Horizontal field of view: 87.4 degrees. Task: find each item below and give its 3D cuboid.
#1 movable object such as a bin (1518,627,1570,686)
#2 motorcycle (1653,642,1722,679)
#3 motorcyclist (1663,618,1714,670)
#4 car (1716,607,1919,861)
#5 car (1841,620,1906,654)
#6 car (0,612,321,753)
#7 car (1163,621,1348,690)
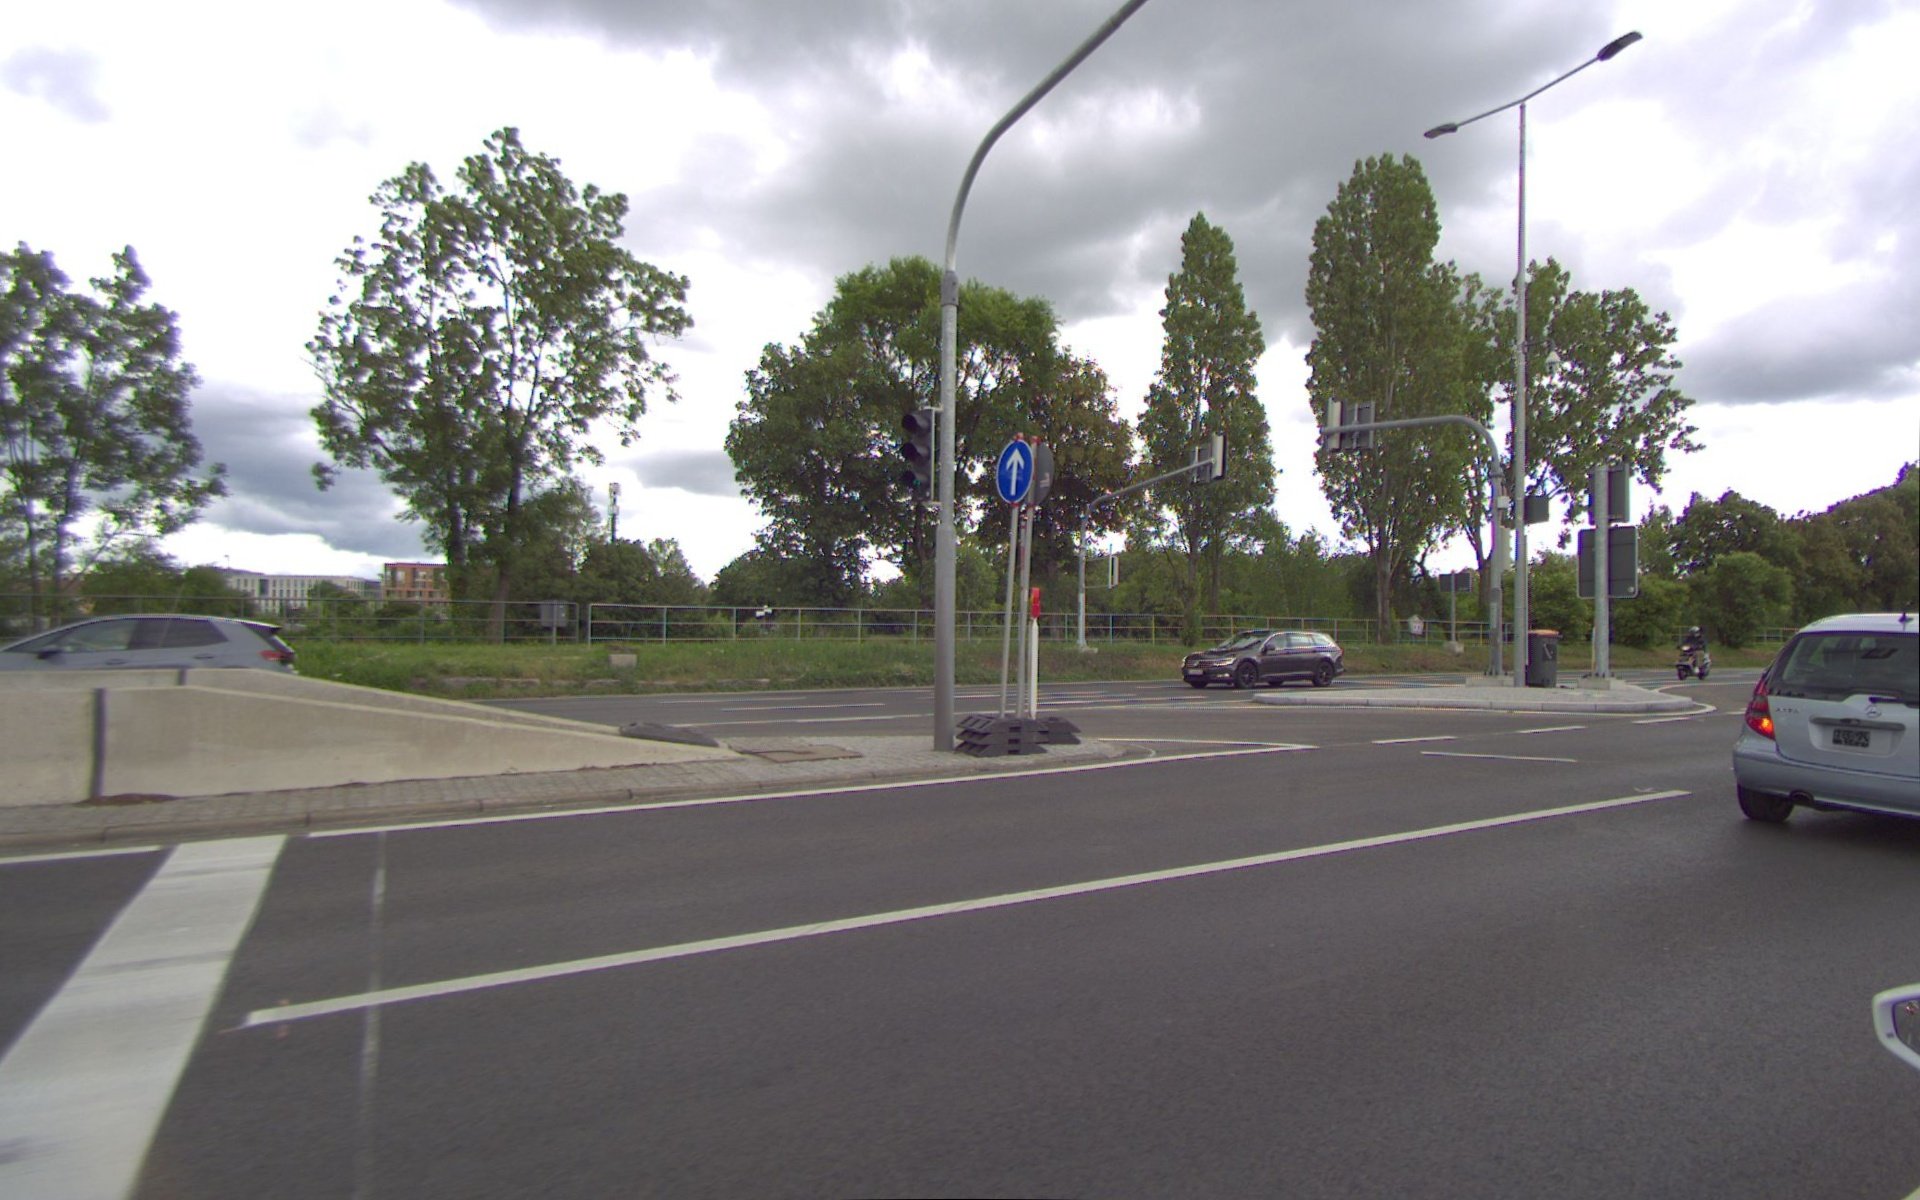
[{"bbox_3d":[11.153,1.070,19.185,0.732,1.073,0.538,0,1,-30],"label":"movable object such as a bin"},{"bbox_3d":[22.489,1.874,31.055,2.138,1.002,0.908,4,-1,-30],"label":"motorcycle"},{"bbox_3d":[22.524,1.355,31.066,0.969,1.541,0.908,4,0,-30],"label":"motorcyclist"},{"bbox_3d":[7.566,0.854,7.499,3.954,1.550,1.702,0,1,-31],"label":"car"},{"bbox_3d":[42.234,1.684,46.439,2.705,1.482,1.465,0,1,-30],"label":"car"},{"bbox_3d":[-11.674,1.083,14.290,4.238,1.679,1.983,-1,2,-31],"label":"car"},{"bbox_3d":[7.503,1.333,25.424,4.514,1.571,1.984,0,-1,-31],"label":"car"}]
